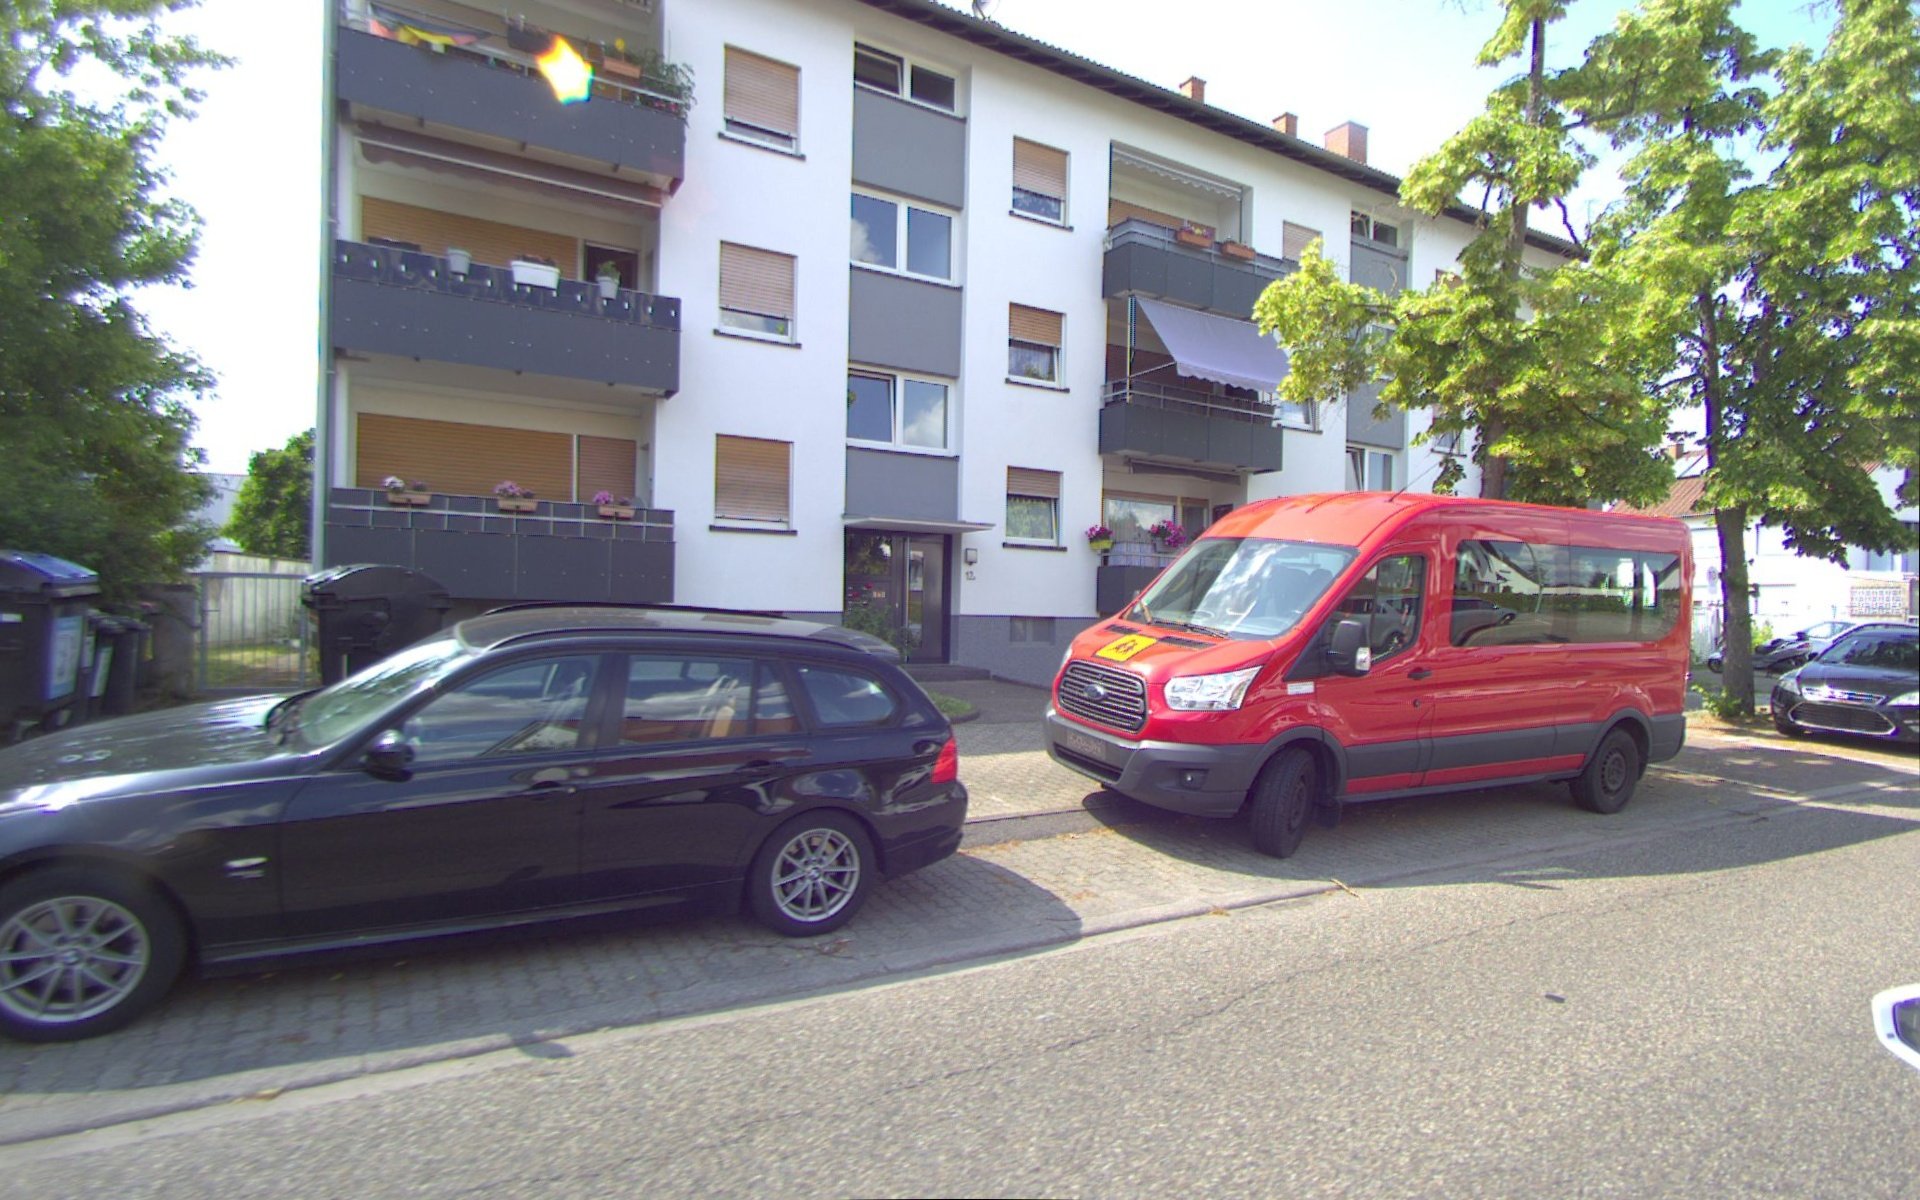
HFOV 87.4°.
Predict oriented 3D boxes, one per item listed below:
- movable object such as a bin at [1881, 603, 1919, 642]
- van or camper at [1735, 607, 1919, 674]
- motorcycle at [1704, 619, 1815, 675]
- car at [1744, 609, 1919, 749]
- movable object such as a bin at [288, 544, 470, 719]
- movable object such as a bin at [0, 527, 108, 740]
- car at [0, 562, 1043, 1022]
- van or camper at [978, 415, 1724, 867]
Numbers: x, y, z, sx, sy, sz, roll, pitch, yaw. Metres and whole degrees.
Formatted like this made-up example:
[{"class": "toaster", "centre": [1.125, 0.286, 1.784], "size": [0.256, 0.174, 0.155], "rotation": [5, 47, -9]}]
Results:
[{"class": "movable object such as a bin", "centre": [39.028, 0.902, 41.078], "size": [1.575, 1.451, 1.310], "rotation": [-5, 2, -14]}, {"class": "van or camper", "centre": [23.786, 1.090, 27.302], "size": [3.919, 1.563, 1.782], "rotation": [3, 1, 5]}, {"class": "motorcycle", "centre": [20.613, 1.193, 25.945], "size": [0.670, 1.266, 2.083], "rotation": [1, 2, -29]}, {"class": "car", "centre": [12.729, 0.995, 13.519], "size": [4.542, 1.513, 1.801], "rotation": [2, 2, -30]}, {"class": "movable object such as a bin", "centre": [-5.184, 0.243, 8.937], "size": [1.279, 1.404, 1.286], "rotation": [1, 1, -36]}, {"class": "movable object such as a bin", "centre": [-7.307, 0.219, 7.535], "size": [1.293, 1.506, 1.286], "rotation": [1, 1, -36]}, {"class": "car", "centre": [-1.925, 0.666, 4.896], "size": [4.409, 1.456, 1.680], "rotation": [2, 2, -29]}, {"class": "van or camper", "centre": [3.370, 0.241, 8.166], "size": [6.148, 2.583, 2.138], "rotation": [1, 3, -30]}]
